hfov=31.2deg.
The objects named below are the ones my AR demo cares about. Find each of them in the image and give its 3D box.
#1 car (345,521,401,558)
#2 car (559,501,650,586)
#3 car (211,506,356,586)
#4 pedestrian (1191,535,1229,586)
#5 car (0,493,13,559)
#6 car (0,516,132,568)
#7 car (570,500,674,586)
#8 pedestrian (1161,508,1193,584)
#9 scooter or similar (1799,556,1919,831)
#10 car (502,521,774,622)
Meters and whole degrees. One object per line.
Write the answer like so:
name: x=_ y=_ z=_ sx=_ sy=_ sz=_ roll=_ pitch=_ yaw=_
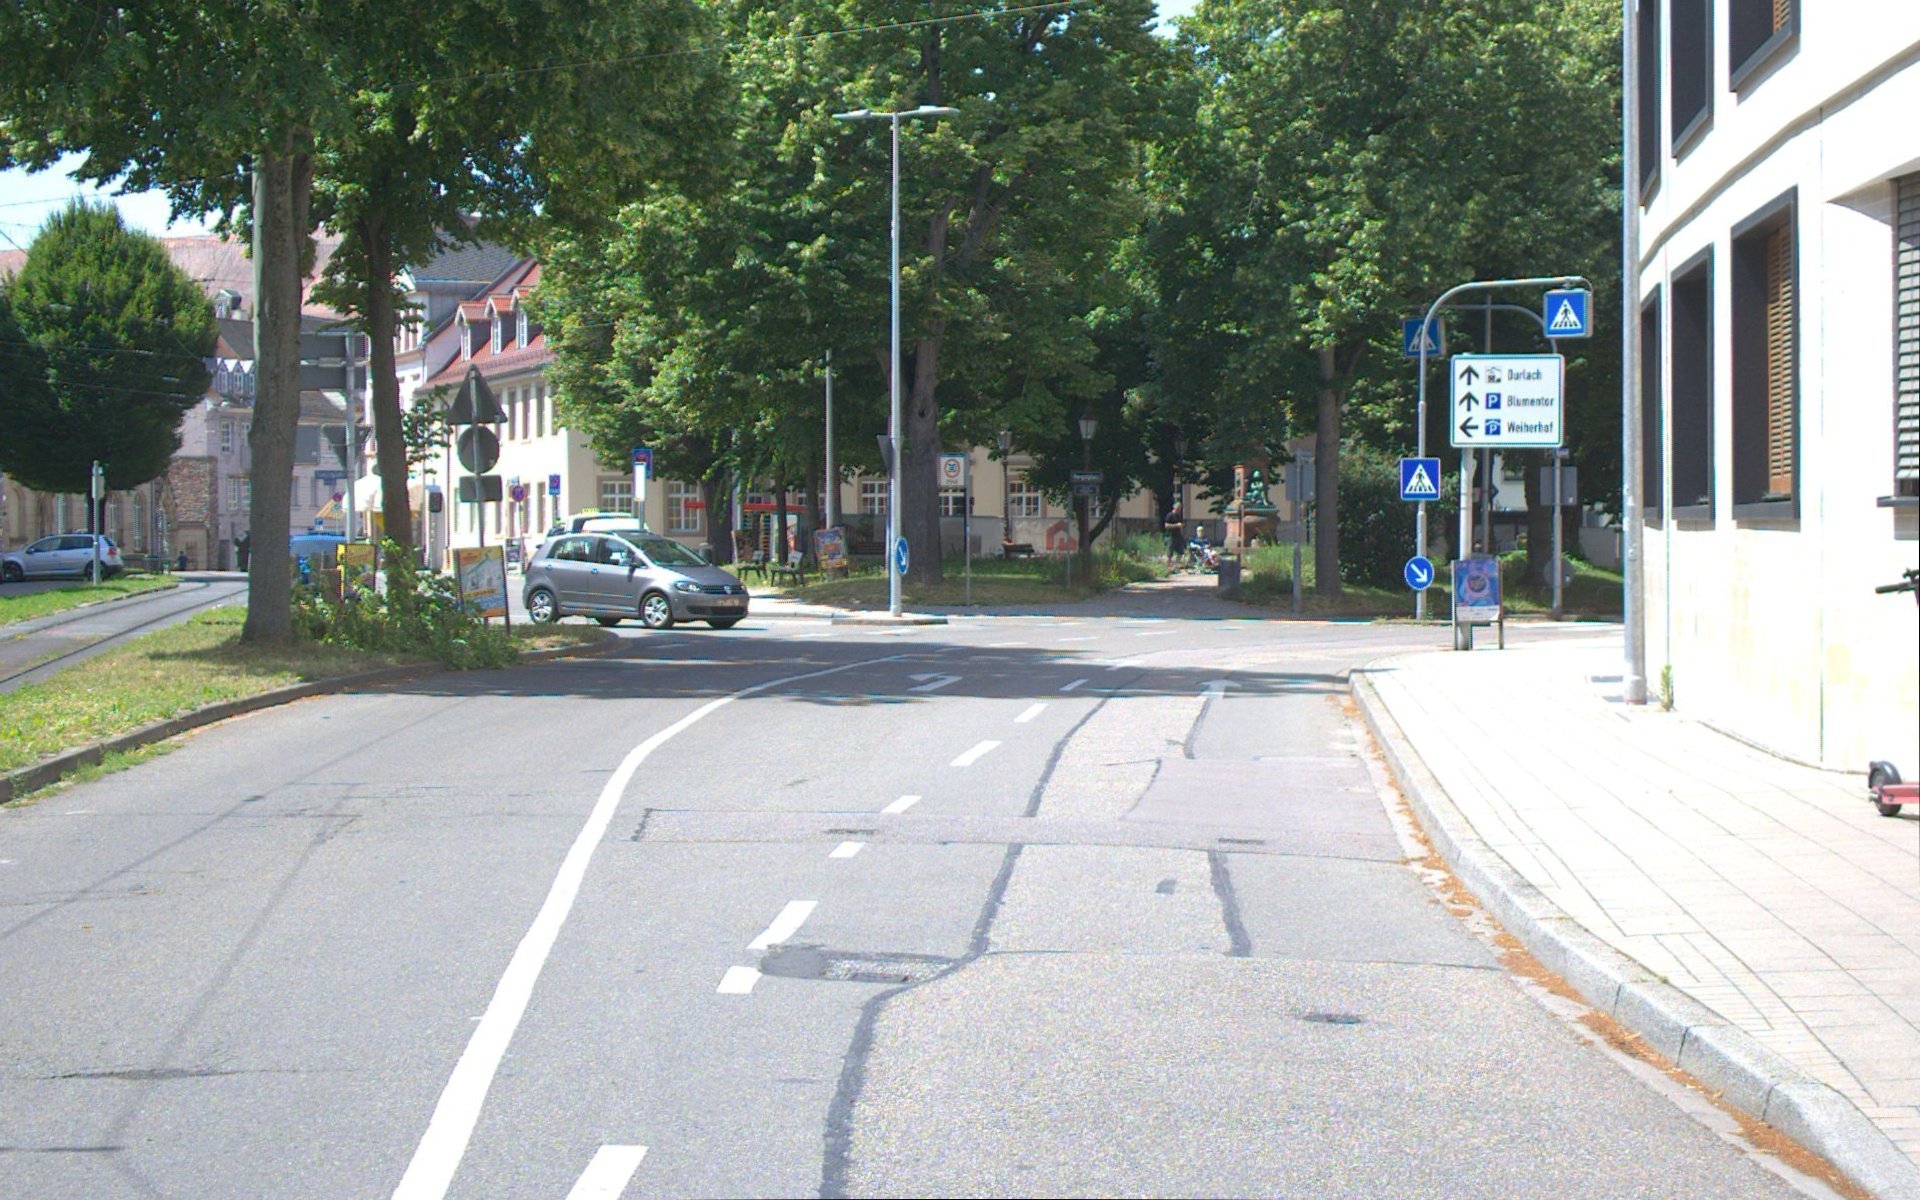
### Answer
car: x=-24.057 y=-2.485 z=140.878 sx=1.860 sy=1.481 sz=4.001 roll=1 pitch=1 yaw=-15
car: x=-8.810 y=-1.420 z=84.940 sx=2.049 sy=1.996 sz=5.250 roll=1 pitch=1 yaw=-8
car: x=-13.873 y=-1.090 z=70.726 sx=1.810 sy=1.487 sz=3.999 roll=3 pitch=0 yaw=5
pedestrian: x=6.367 y=-1.019 z=87.467 sx=0.906 sy=1.247 sz=1.148 roll=1 pitch=3 yaw=6
car: x=-28.955 y=-2.140 z=100.555 sx=1.853 sy=1.904 sz=4.773 roll=-2 pitch=2 yaw=-9
car: x=-27.871 y=-1.802 z=106.594 sx=4.201 sy=1.499 sz=2.005 roll=-2 pitch=2 yaw=-13
car: x=-7.579 y=-1.291 z=76.713 sx=1.993 sy=1.820 sz=4.424 roll=1 pitch=1 yaw=-9
pedestrian: x=5.549 y=-1.391 z=87.907 sx=0.748 sy=1.904 sz=0.684 roll=1 pitch=3 yaw=6
scooter or similar: x=4.594 y=0.427 z=16.725 sx=0.581 sy=1.256 sz=1.368 roll=-2 pitch=1 yaw=-3
car: x=-5.328 y=-0.485 z=56.638 sx=4.239 sy=1.528 sz=1.905 roll=2 pitch=1 yaw=37
